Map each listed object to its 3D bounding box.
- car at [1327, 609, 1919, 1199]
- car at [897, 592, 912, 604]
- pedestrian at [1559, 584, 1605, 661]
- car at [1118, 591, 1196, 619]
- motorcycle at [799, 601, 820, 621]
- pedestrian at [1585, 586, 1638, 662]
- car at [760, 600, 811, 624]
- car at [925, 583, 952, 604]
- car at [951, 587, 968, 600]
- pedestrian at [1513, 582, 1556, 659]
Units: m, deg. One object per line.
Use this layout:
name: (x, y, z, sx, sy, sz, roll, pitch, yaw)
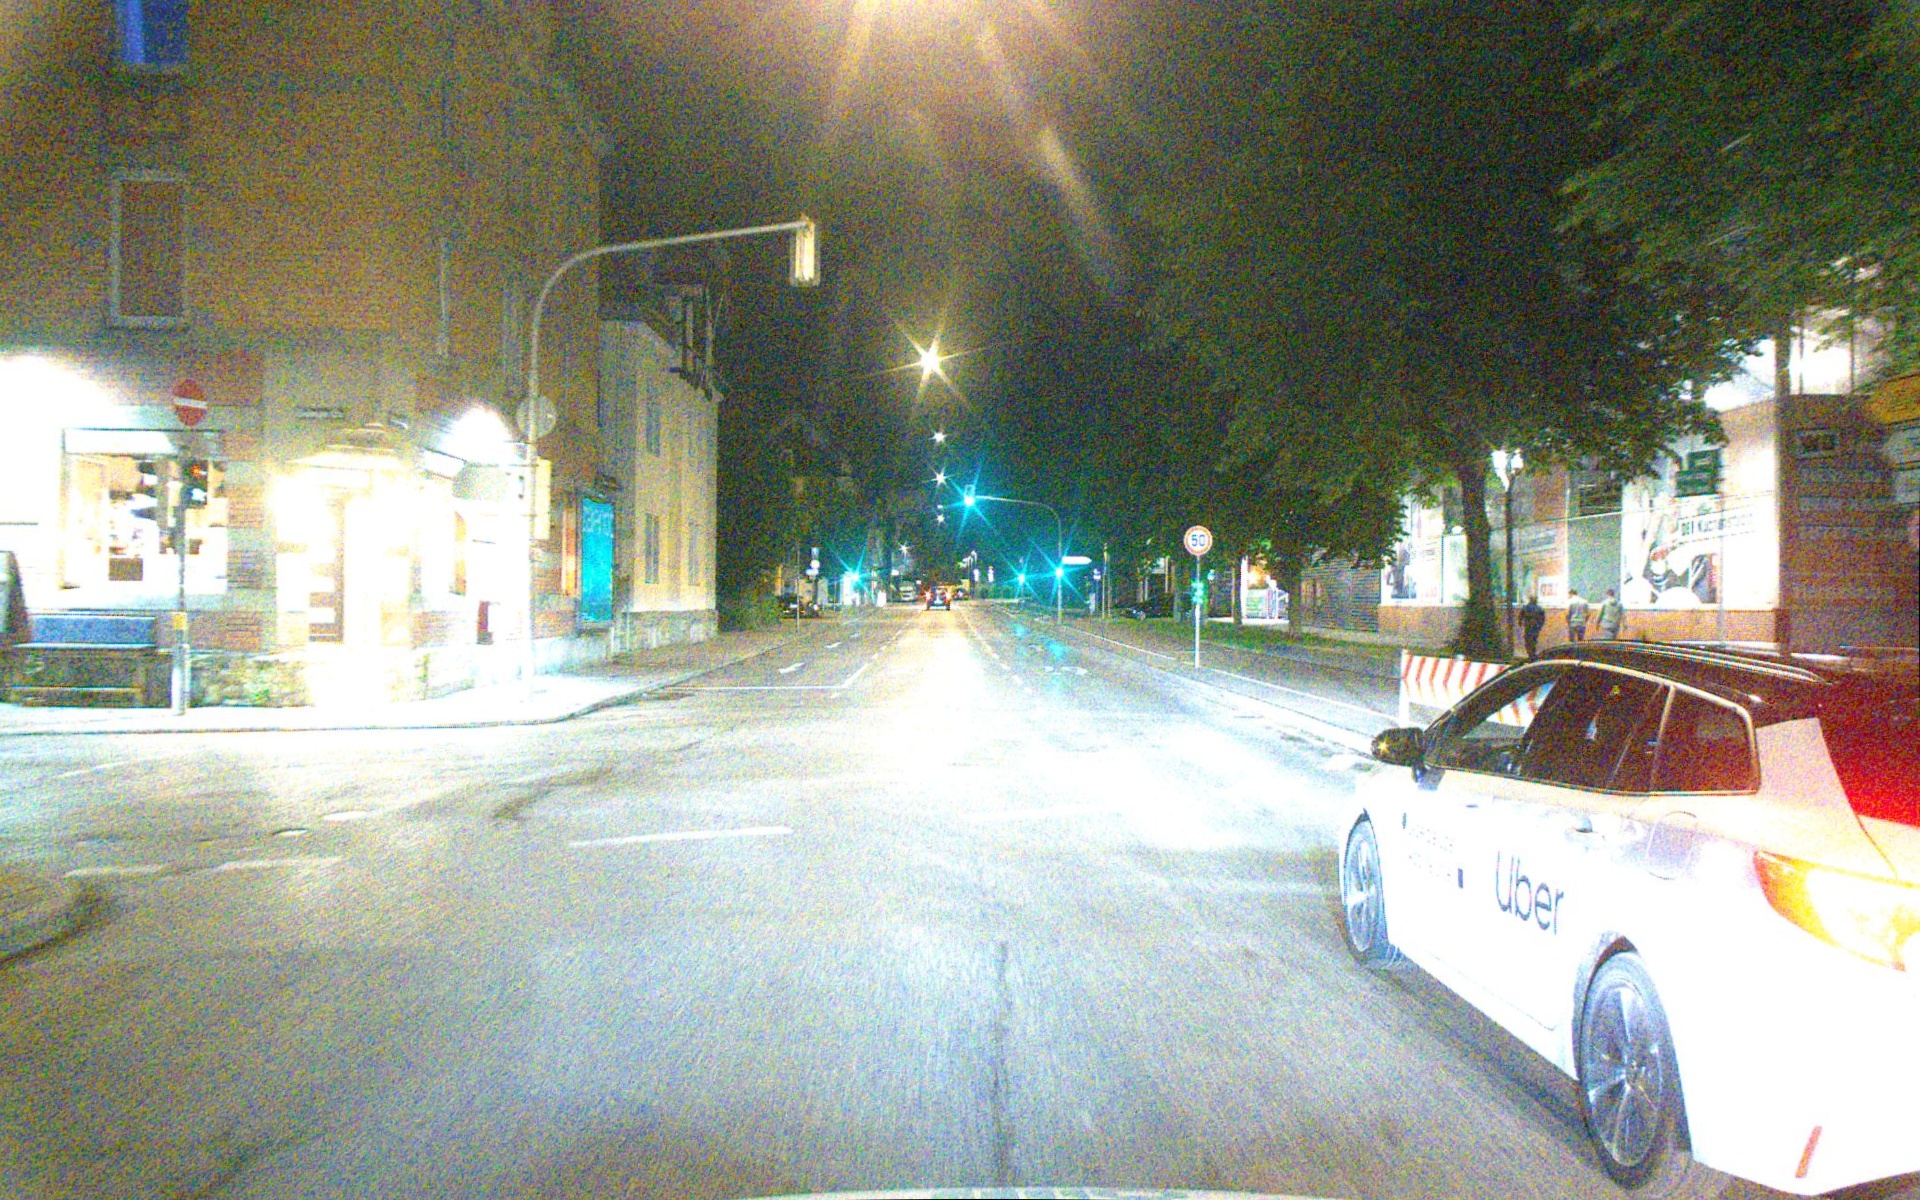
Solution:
car: (2.611, 0.804, 5.456, 1.694, 1.460, 4.209, 2, 0, -2)
car: (-6.673, -0.293, 198.806, 1.742, 1.414, 3.998, 0, 0, -3)
pedestrian: (14.715, 0.526, 39.172, 0.724, 1.800, 0.907, -1, 0, -1)
car: (10.296, 0.258, 86.540, 3.904, 1.411, 1.772, 0, 0, 2)
motorcycle: (-9.580, 0.709, 105.112, 0.769, 1.225, 2.436, 0, 0, -19)
pedestrian: (15.665, 0.565, 39.796, 0.882, 1.800, 0.907, -1, 0, -1)
car: (-11.404, 0.788, 107.861, 1.786, 1.512, 3.956, -1, 0, -32)
car: (-1.704, -0.503, 129.826, 1.953, 1.668, 3.998, 0, 0, -2)
car: (-0.102, -0.826, 213.513, 1.954, 1.624, 3.997, -1, 0, -3)
pedestrian: (13.716, 0.485, 39.492, 0.699, 1.800, 0.907, -1, 0, -1)
